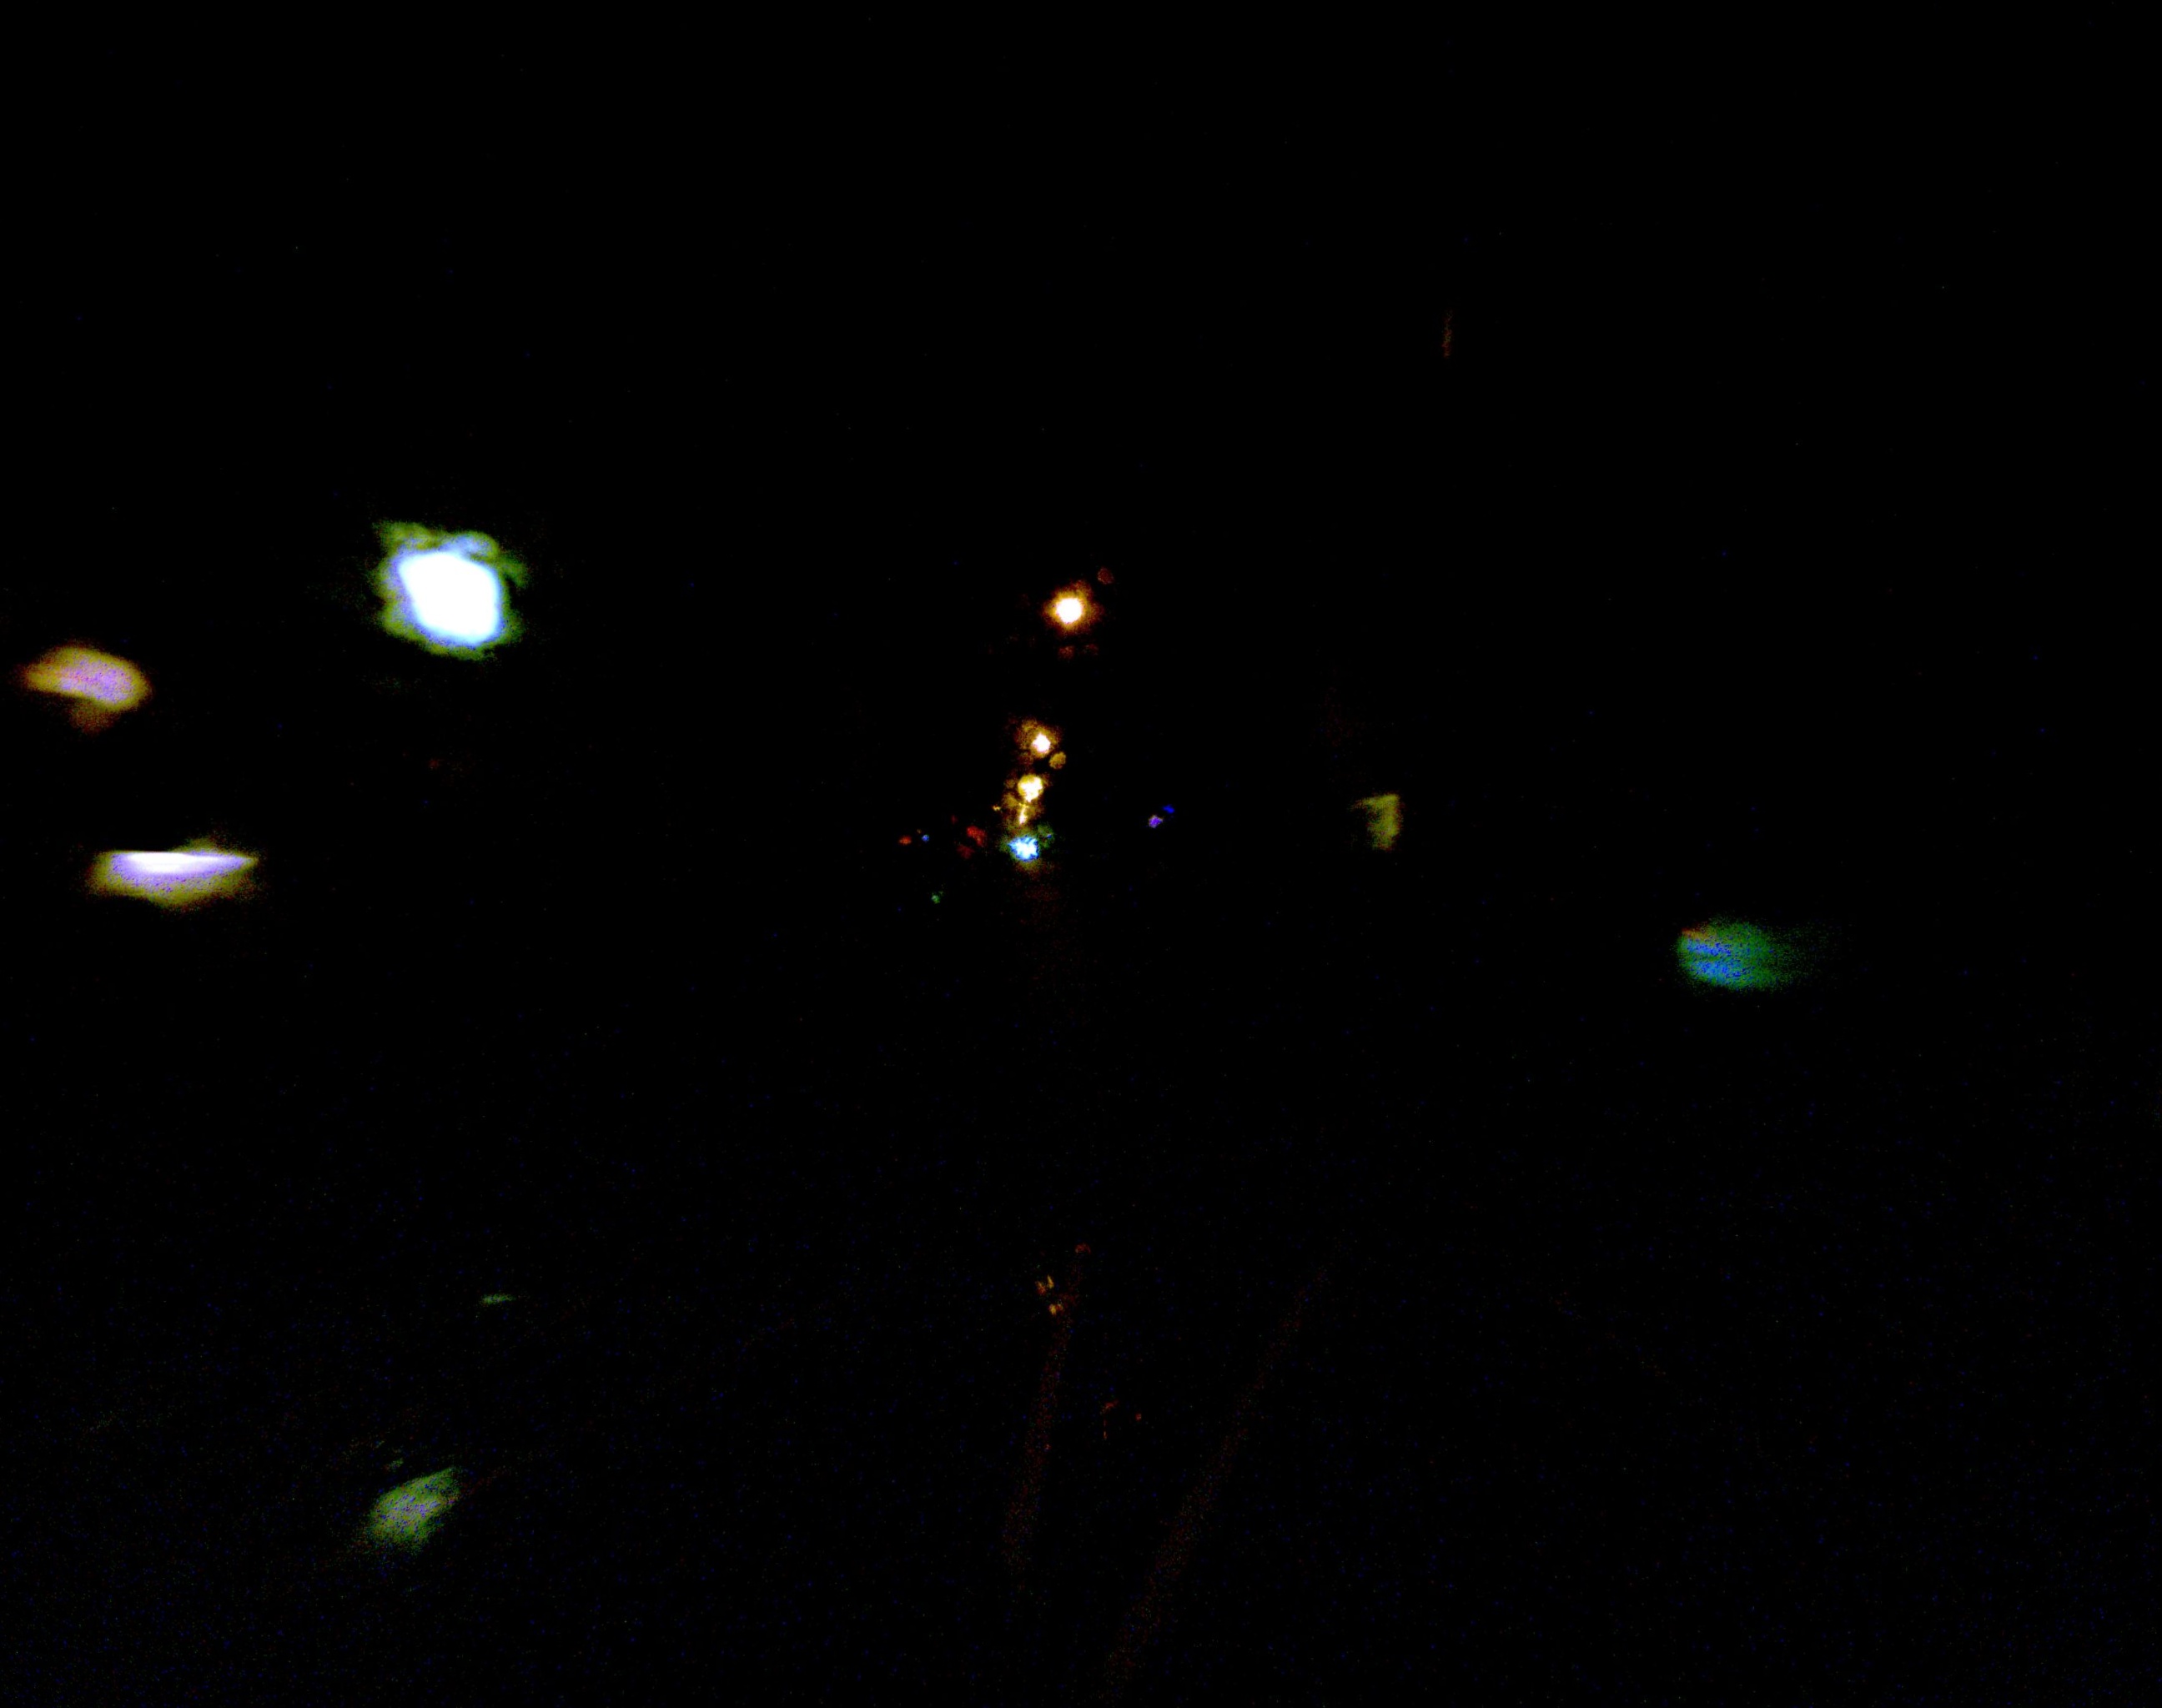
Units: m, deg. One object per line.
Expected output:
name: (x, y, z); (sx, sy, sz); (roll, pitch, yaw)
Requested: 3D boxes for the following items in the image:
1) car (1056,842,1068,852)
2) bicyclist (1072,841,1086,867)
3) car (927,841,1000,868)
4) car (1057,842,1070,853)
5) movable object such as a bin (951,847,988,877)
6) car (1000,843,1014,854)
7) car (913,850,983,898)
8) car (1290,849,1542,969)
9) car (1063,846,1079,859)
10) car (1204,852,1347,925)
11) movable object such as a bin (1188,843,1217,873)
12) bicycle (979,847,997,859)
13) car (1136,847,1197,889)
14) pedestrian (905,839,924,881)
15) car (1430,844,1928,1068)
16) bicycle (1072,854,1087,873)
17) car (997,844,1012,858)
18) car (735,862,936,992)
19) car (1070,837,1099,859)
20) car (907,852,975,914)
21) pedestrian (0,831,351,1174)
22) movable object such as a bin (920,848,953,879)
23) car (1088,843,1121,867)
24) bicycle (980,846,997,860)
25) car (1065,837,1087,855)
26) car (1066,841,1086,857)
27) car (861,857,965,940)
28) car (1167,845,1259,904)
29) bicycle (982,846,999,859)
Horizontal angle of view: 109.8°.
car: (-2.759, -0.981, 109.801); (1.697, 1.470, 3.383); (-1, 0, -1)
bicyclist: (-0.127, -0.002, 45.179); (0.720, 1.547, 0.894); (0, 2, -5)
car: (-7.577, 0.004, 49.277); (4.526, 1.522, 1.779); (2, 1, -5)
car: (-2.407, -0.868, 103.632); (1.532, 1.445, 3.382); (-1, 1, -4)
movable object such as a bin: (-5.418, 0.378, 36.994); (1.344, 1.421, 1.197); (-2, 2, -41)
car: (-10.439, -0.828, 107.723); (1.846, 1.498, 4.160); (0, 1, -4)
car: (-4.573, 0.635, 26.765); (1.999, 1.456, 4.414); (-1, 1, -5)
car: (4.972, 0.700, 12.041); (1.838, 1.472, 4.304); (-1, 1, -4)
car: (-1.222, -0.195, 91.633); (1.732, 1.384, 4.552); (-1, 1, -4)
car: (4.262, 0.681, 17.421); (1.827, 1.382, 4.422); (-1, 1, -5)
movable object such as a bin: (5.914, 0.184, 37.057); (1.104, 1.446, 1.378); (0, 1, -6)
bicycle: (-8.558, -0.117, 69.807); (1.534, 0.947, 0.366); (5, 2, -8)
car: (3.277, 0.495, 29.845); (1.677, 1.482, 3.719); (-2, 1, -5)
pedestrian: (-7.310, 0.264, 33.345); (0.704, 1.778, 0.624); (1, 0, -1)
car: (5.267, 0.714, 7.453); (1.750, 1.579, 3.763); (-1, 1, -4)
bicycle: (-0.115, 0.561, 45.219); (0.729, 1.066, 2.347); (0, 1, -5)
car: (-9.668, -0.402, 96.107); (1.677, 1.712, 3.854); (0, 1, -4)
car: (-3.274, 0.880, 11.013); (1.923, 1.404, 3.997); (-1, 1, -5)
car: (0.235, -0.525, 64.383); (2.001, 1.819, 5.203); (-1, 1, -4)
car: (-3.871, 0.739, 21.500); (1.695, 1.490, 3.887); (-1, 1, -8)
pedestrian: (-5.277, 0.778, 4.495); (0.864, 1.778, 1.082); (1, 0, -1)
movable object such as a bin: (-6.898, 0.433, 36.375); (1.312, 1.421, 1.050); (-1, 2, 5)
car: (1.572, 0.036, 52.664); (1.772, 1.474, 4.769); (-4, 1, -4)
bicycle: (-9.044, -0.128, 74.120); (1.533, 1.196, 0.366); (5, 2, -6)
car: (-0.537, -0.855, 79.438); (1.908, 1.819, 4.826); (-1, 1, -4)
car: (-0.506, -0.474, 71.246); (1.573, 1.451, 3.718); (-1, 1, -4)
car: (-3.511, 0.857, 16.528); (1.694, 1.490, 3.888); (-1, 1, -5)
car: (3.864, 0.544, 22.949); (1.779, 1.563, 4.132); (-1, 1, -5)
bicycle: (-8.855, -0.152, 74.587); (1.533, 1.196, 0.366); (5, 2, -2)
